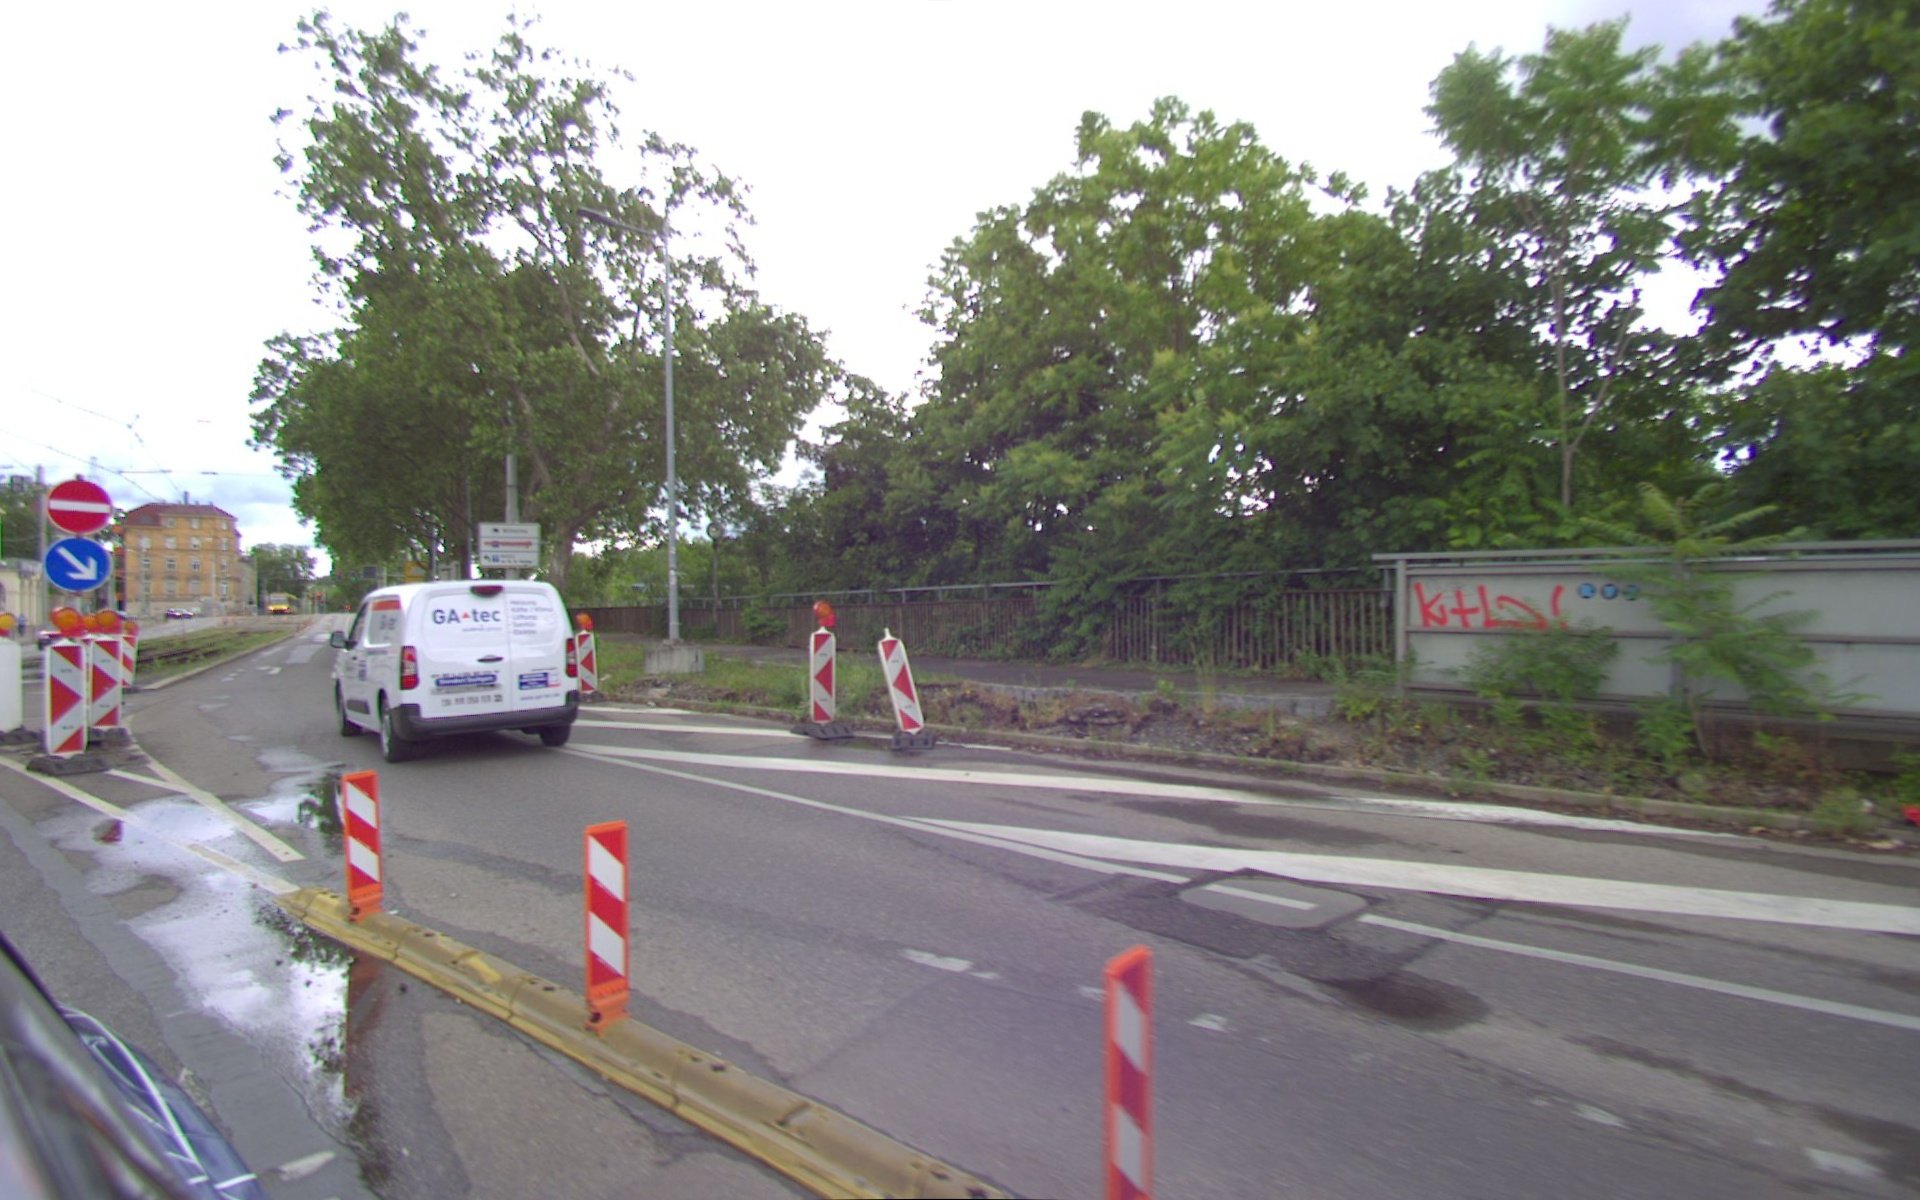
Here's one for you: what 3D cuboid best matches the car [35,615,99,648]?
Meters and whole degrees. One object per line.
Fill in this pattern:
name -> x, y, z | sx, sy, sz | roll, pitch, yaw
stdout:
car -> -43.750, 1.525, 49.682 | 1.654, 1.453, 4.131 | -3, 1, -32

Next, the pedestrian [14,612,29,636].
pedestrian -> -72.427, 1.854, 78.128 | 0.661, 1.781, 0.939 | 0, -1, -32

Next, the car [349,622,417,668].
car -> -19.587, 1.516, 34.274 | 1.672, 1.472, 3.922 | 1, -2, -35

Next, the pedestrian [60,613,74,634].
pedestrian -> -73.696, 1.926, 83.527 | 0.661, 1.781, 0.939 | 0, -1, -32

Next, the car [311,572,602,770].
car -> -5.928, 0.660, 11.573 | 1.840, 1.796, 4.755 | -1, 0, -41

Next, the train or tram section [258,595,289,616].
train or tram section -> -114.225, 0.898, 168.508 | 3.678, 3.391, 17.607 | 1, 0, -33
